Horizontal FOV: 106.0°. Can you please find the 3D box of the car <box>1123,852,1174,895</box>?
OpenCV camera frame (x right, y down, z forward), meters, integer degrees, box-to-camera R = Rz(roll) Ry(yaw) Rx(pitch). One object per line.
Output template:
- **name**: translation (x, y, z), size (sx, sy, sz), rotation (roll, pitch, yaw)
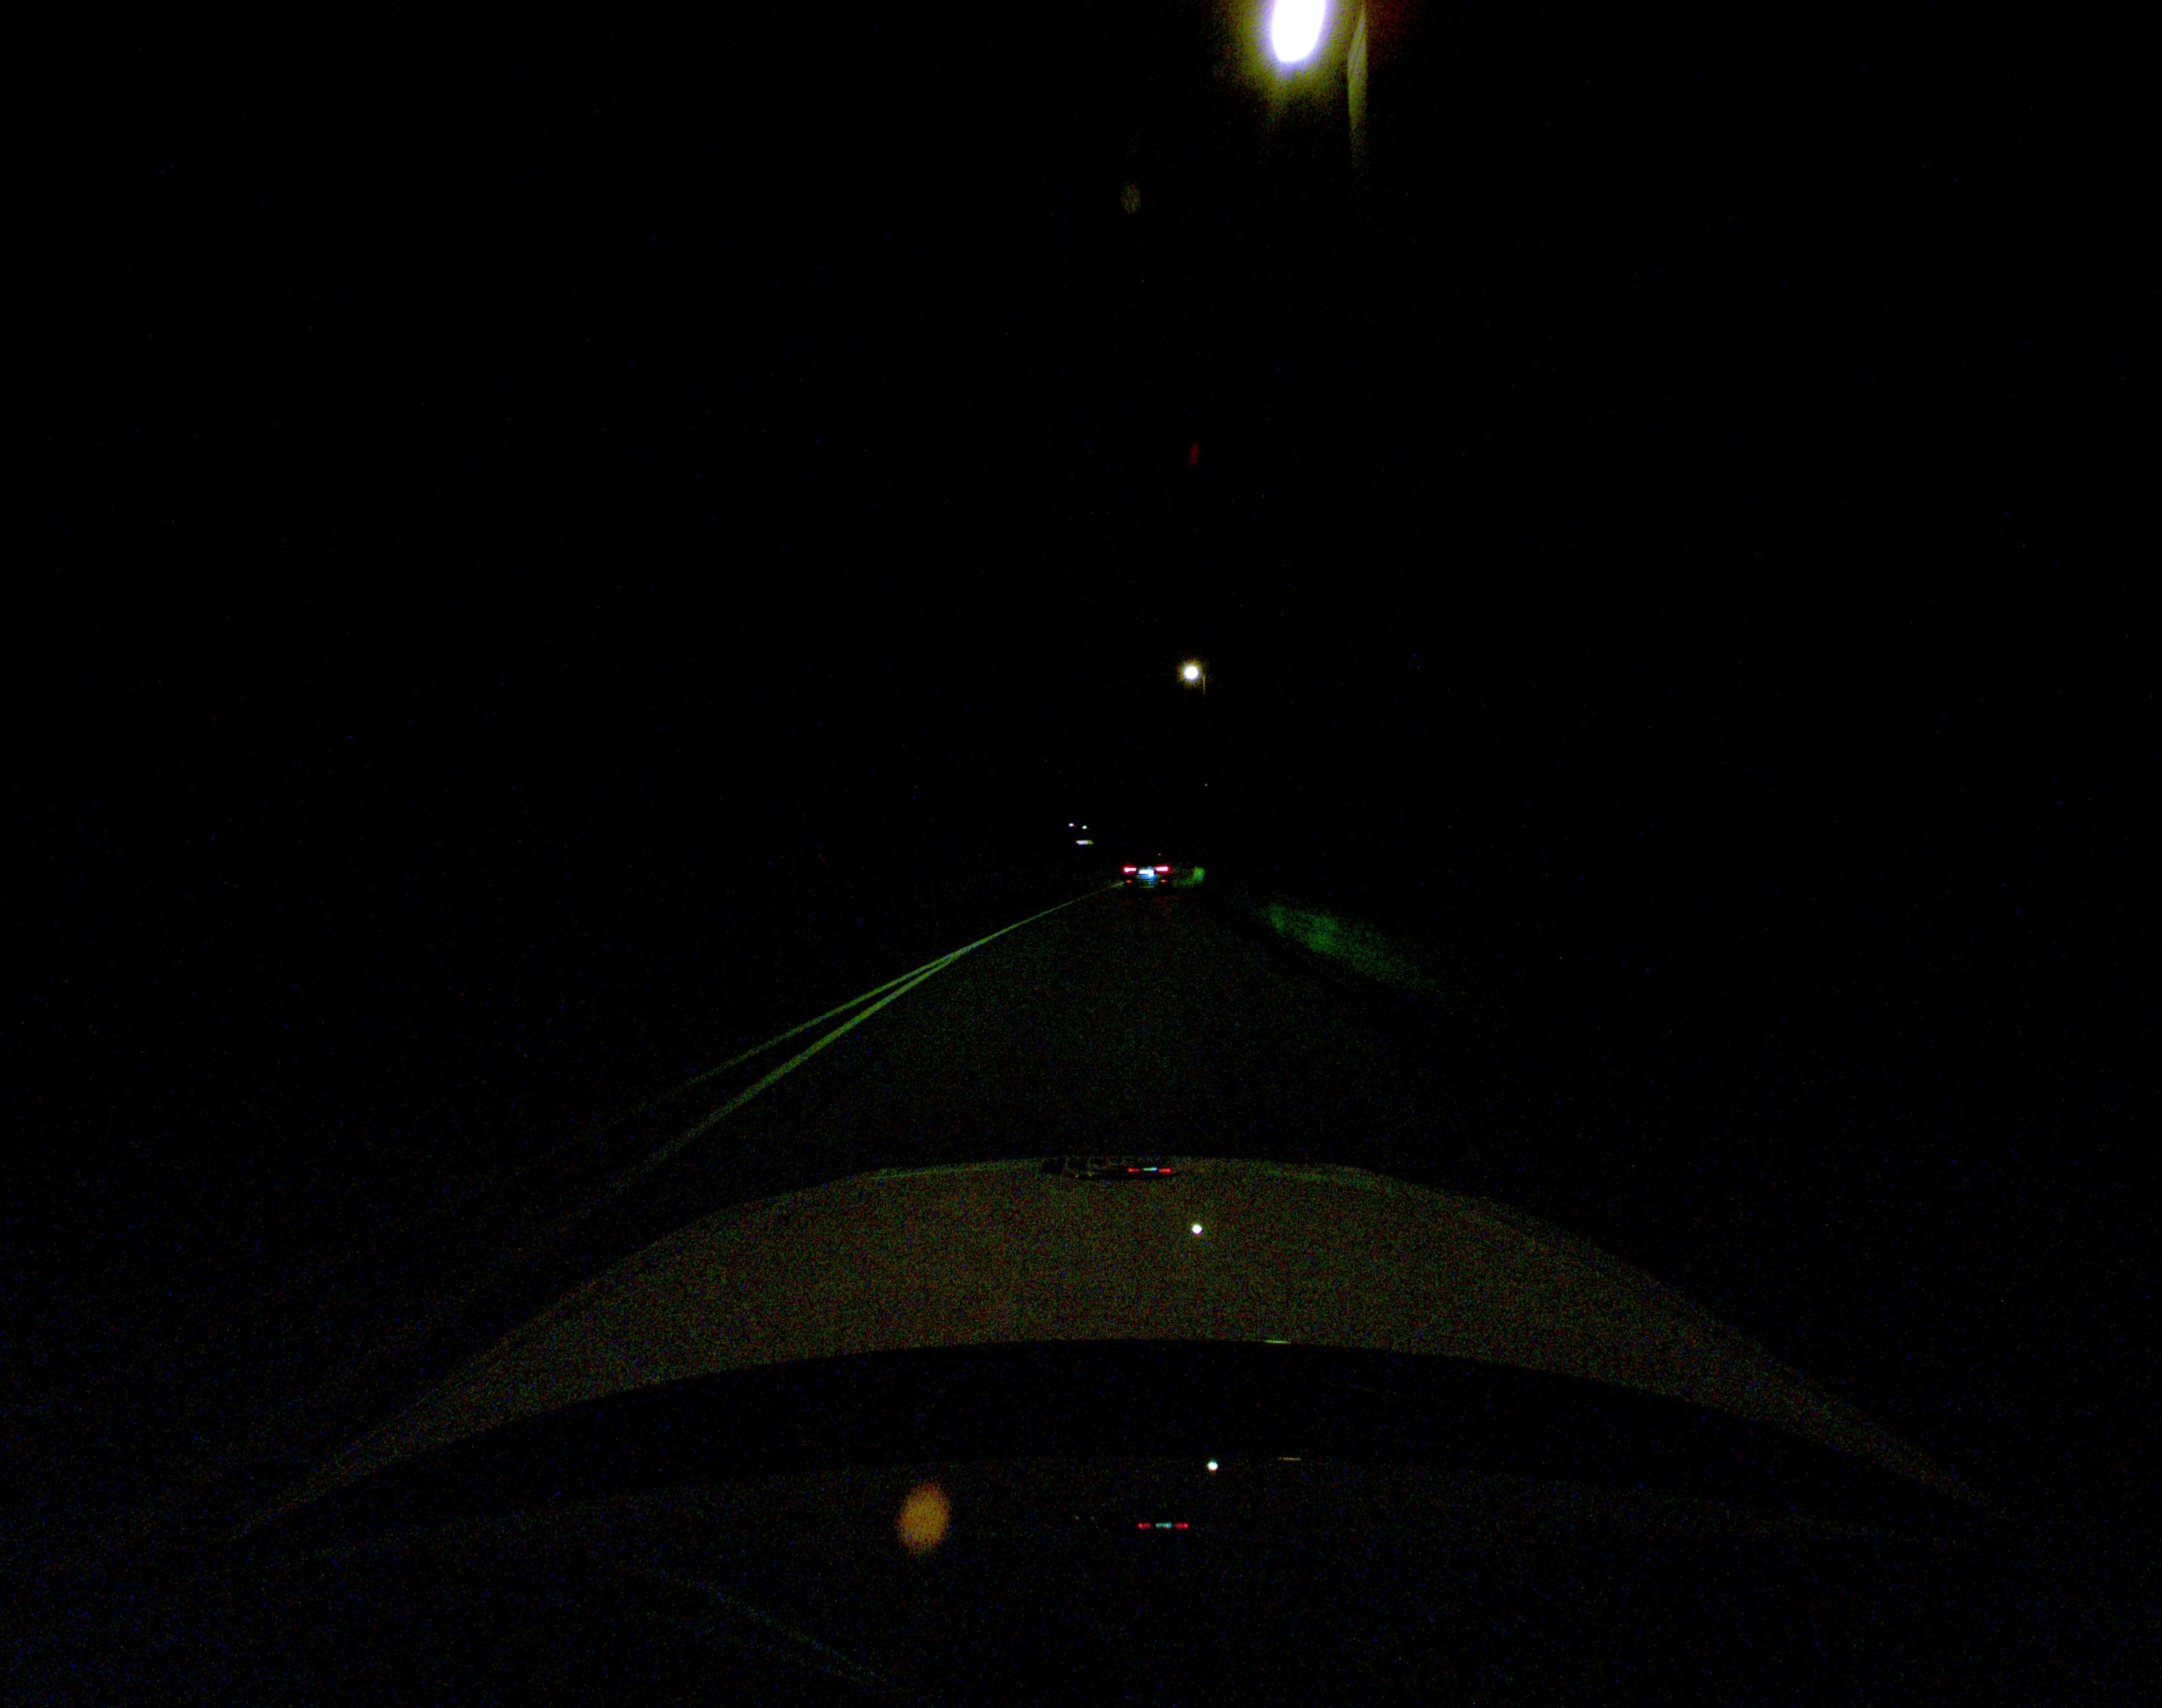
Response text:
- **car**: translation (2.745, 0.728, 32.291), size (1.805, 1.573, 3.952), rotation (-1, 0, 7)
